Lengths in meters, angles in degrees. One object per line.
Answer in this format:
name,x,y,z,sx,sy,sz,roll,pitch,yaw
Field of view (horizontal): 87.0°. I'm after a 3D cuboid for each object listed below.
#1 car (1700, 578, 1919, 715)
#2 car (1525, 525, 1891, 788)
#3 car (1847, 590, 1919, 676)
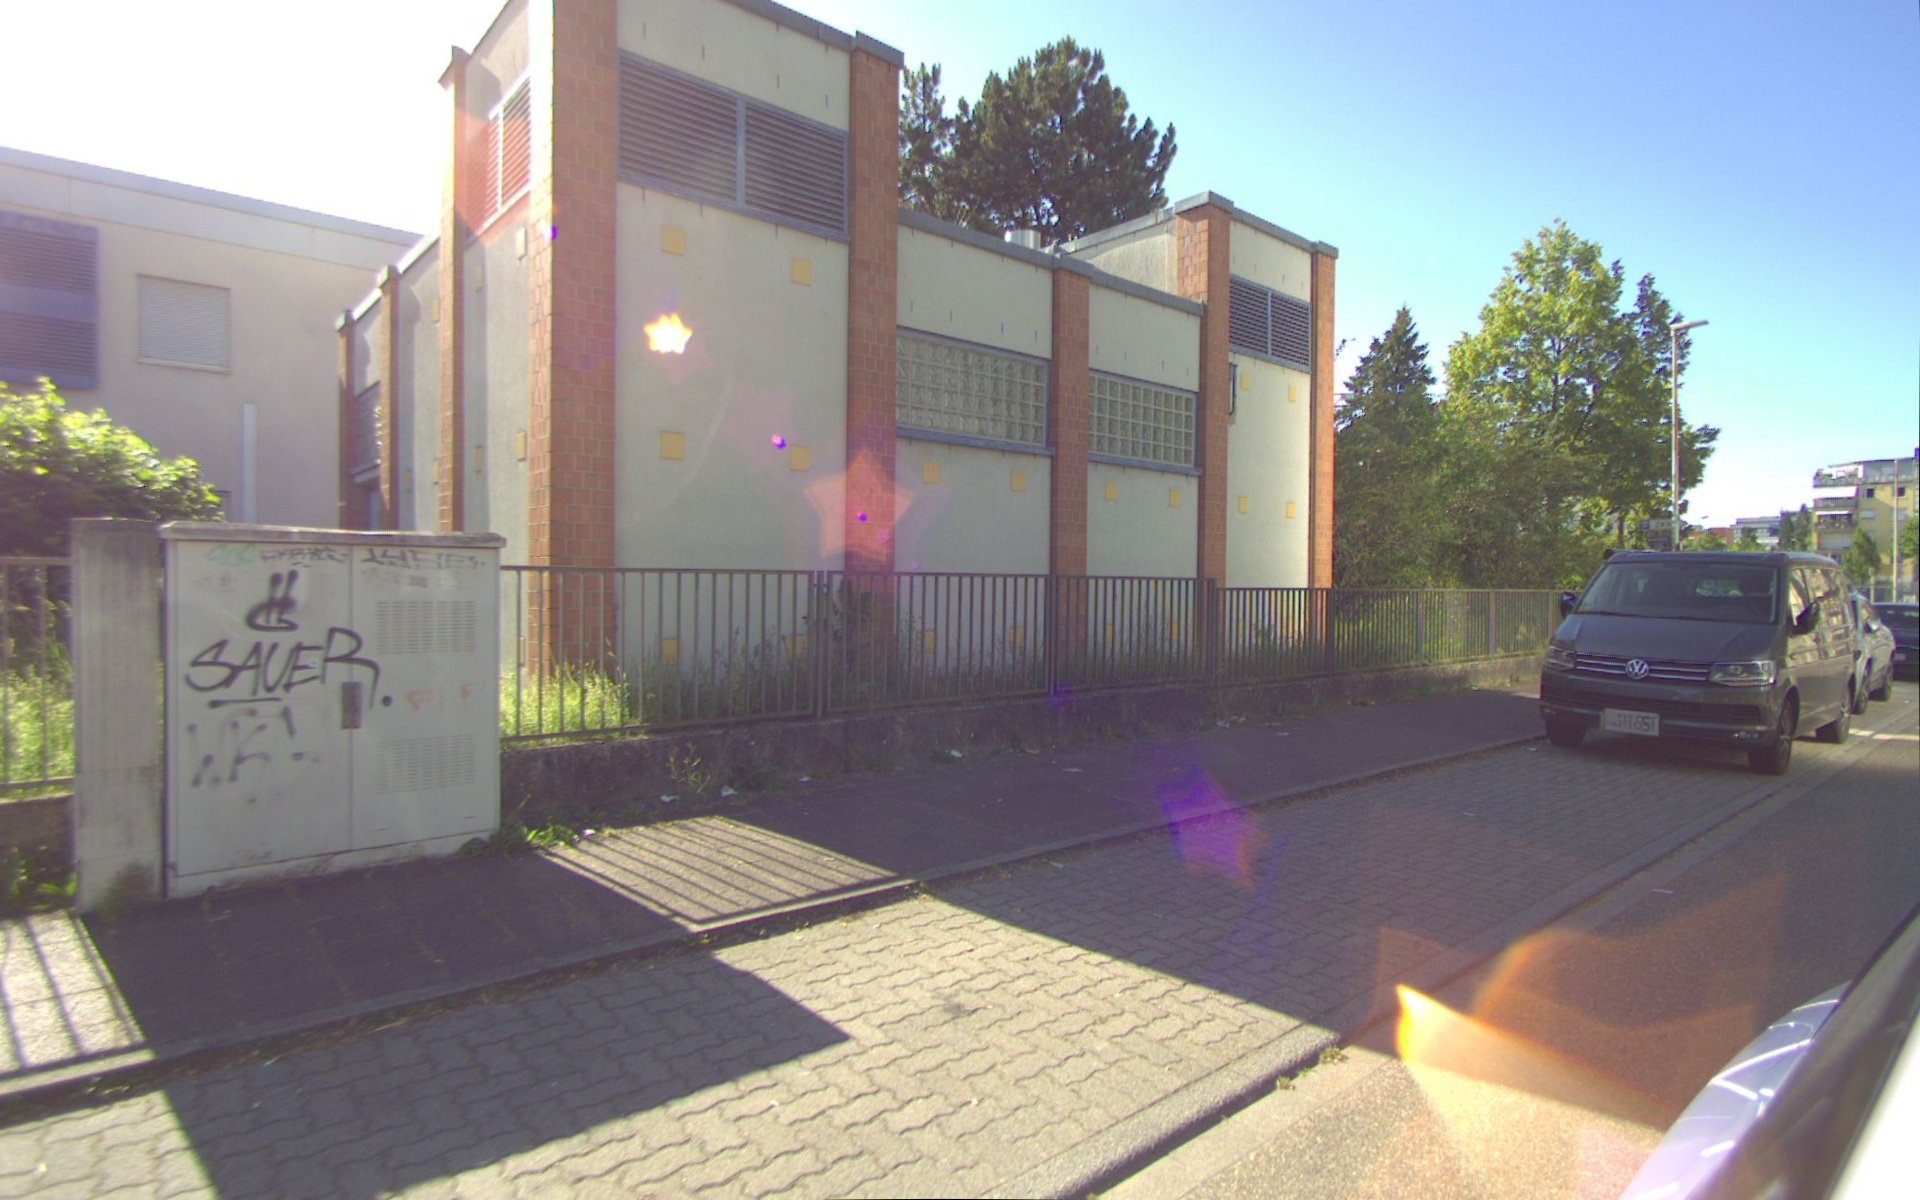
car,12.429,0.532,14.667,4.219,1.649,1.829,-1,3,-41
car,7.662,0.372,10.174,4.741,2.047,1.947,-1,3,-41
car,18.785,0.600,19.824,3.699,1.490,1.655,-1,3,-42
